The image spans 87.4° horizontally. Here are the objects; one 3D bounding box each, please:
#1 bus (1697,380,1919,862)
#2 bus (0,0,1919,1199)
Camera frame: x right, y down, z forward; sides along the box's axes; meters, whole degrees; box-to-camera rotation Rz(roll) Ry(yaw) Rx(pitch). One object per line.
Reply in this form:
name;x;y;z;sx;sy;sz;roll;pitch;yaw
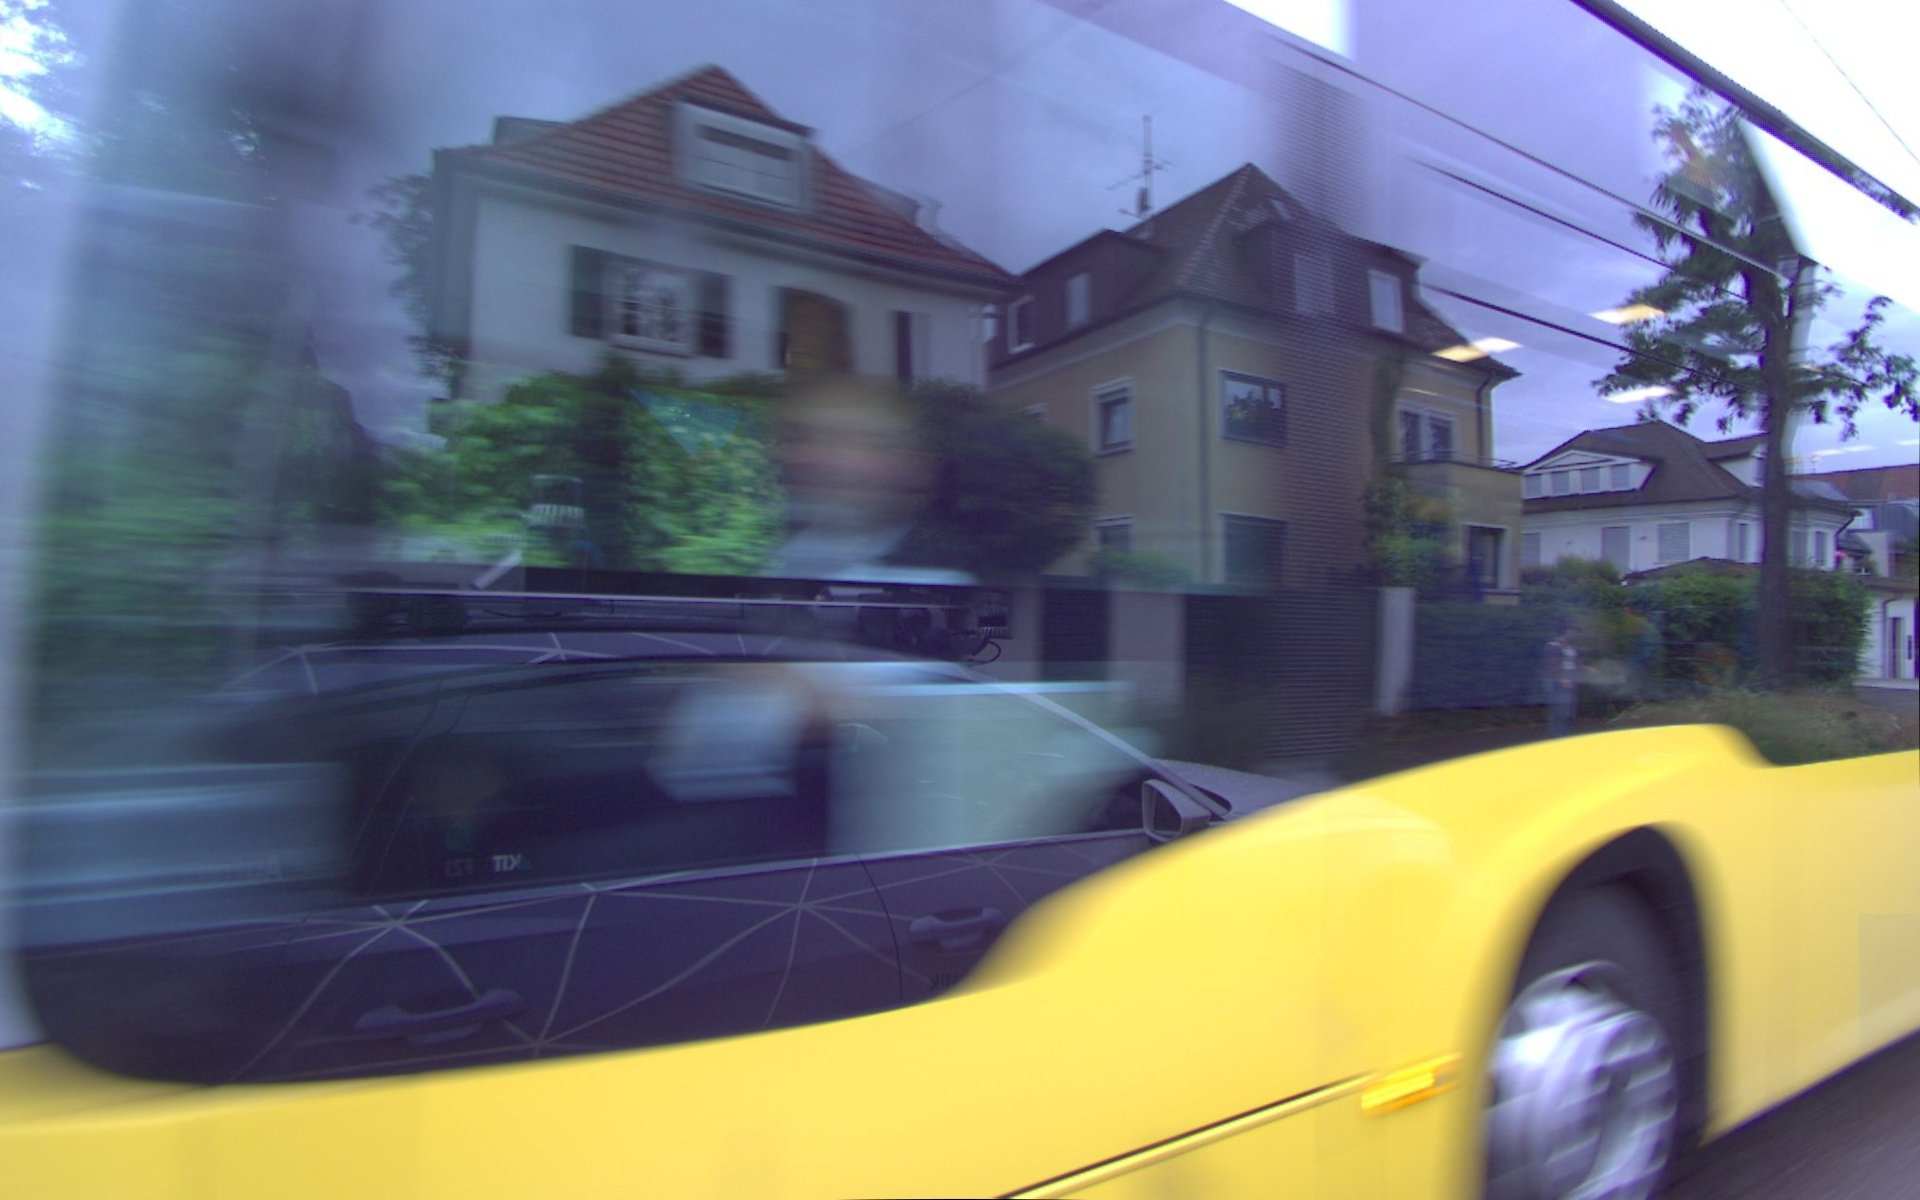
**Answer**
bus;10.002;0.270;8.903;8.539;3.200;2.581;2;-1;-32
bus;2.492;0.178;4.231;9.127;3.085;2.629;2;-1;-32
